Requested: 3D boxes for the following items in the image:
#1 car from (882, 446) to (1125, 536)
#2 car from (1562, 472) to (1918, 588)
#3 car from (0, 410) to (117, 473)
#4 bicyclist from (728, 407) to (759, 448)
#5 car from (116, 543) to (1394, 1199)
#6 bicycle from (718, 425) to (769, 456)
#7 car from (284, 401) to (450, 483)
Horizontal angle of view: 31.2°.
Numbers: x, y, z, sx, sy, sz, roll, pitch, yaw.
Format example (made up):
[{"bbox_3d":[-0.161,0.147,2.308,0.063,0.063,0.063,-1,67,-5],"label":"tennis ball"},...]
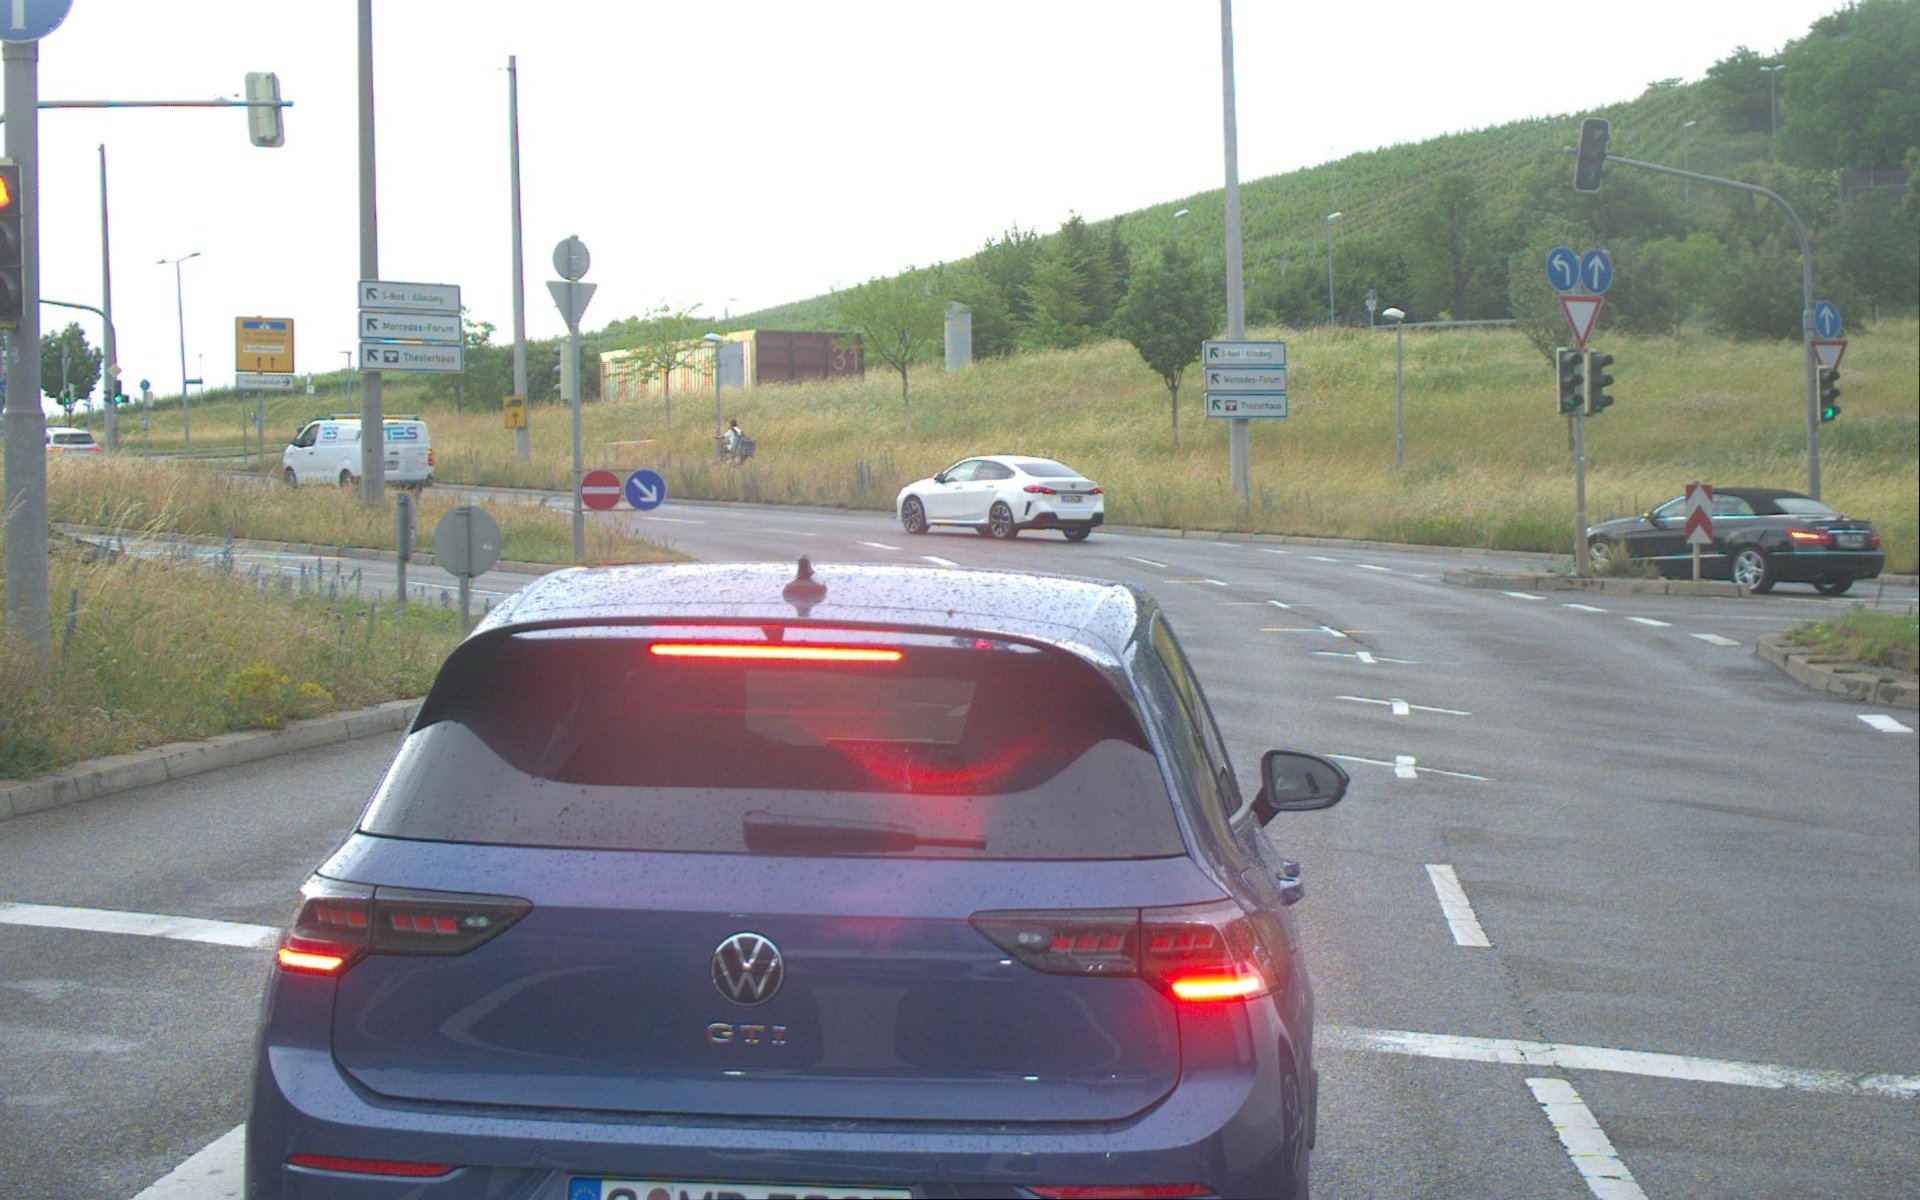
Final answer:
[{"bbox_3d":[0.733,-1.897,60.733,1.994,1.472,4.420,1,0,-37],"label":"car"},{"bbox_3d":[10.508,-0.922,46.602,1.994,1.472,4.502,1,0,-35],"label":"car"},{"bbox_3d":[-26.636,-4.649,101.227,1.994,1.654,4.544,1,0,-35],"label":"car"},{"bbox_3d":[-5.758,-4.591,91.552,0.523,1.043,0.580,3,1,-37],"label":"bicyclist"},{"bbox_3d":[-0.197,0.641,6.813,1.825,1.455,3.808,1,1,3],"label":"car"},{"bbox_3d":[-5.777,-4.246,91.567,0.518,0.772,1.621,2,2,-37],"label":"bicycle"},{"bbox_3d":[-14.259,-3.758,82.419,2.129,1.788,4.740,1,0,-34],"label":"car"}]
